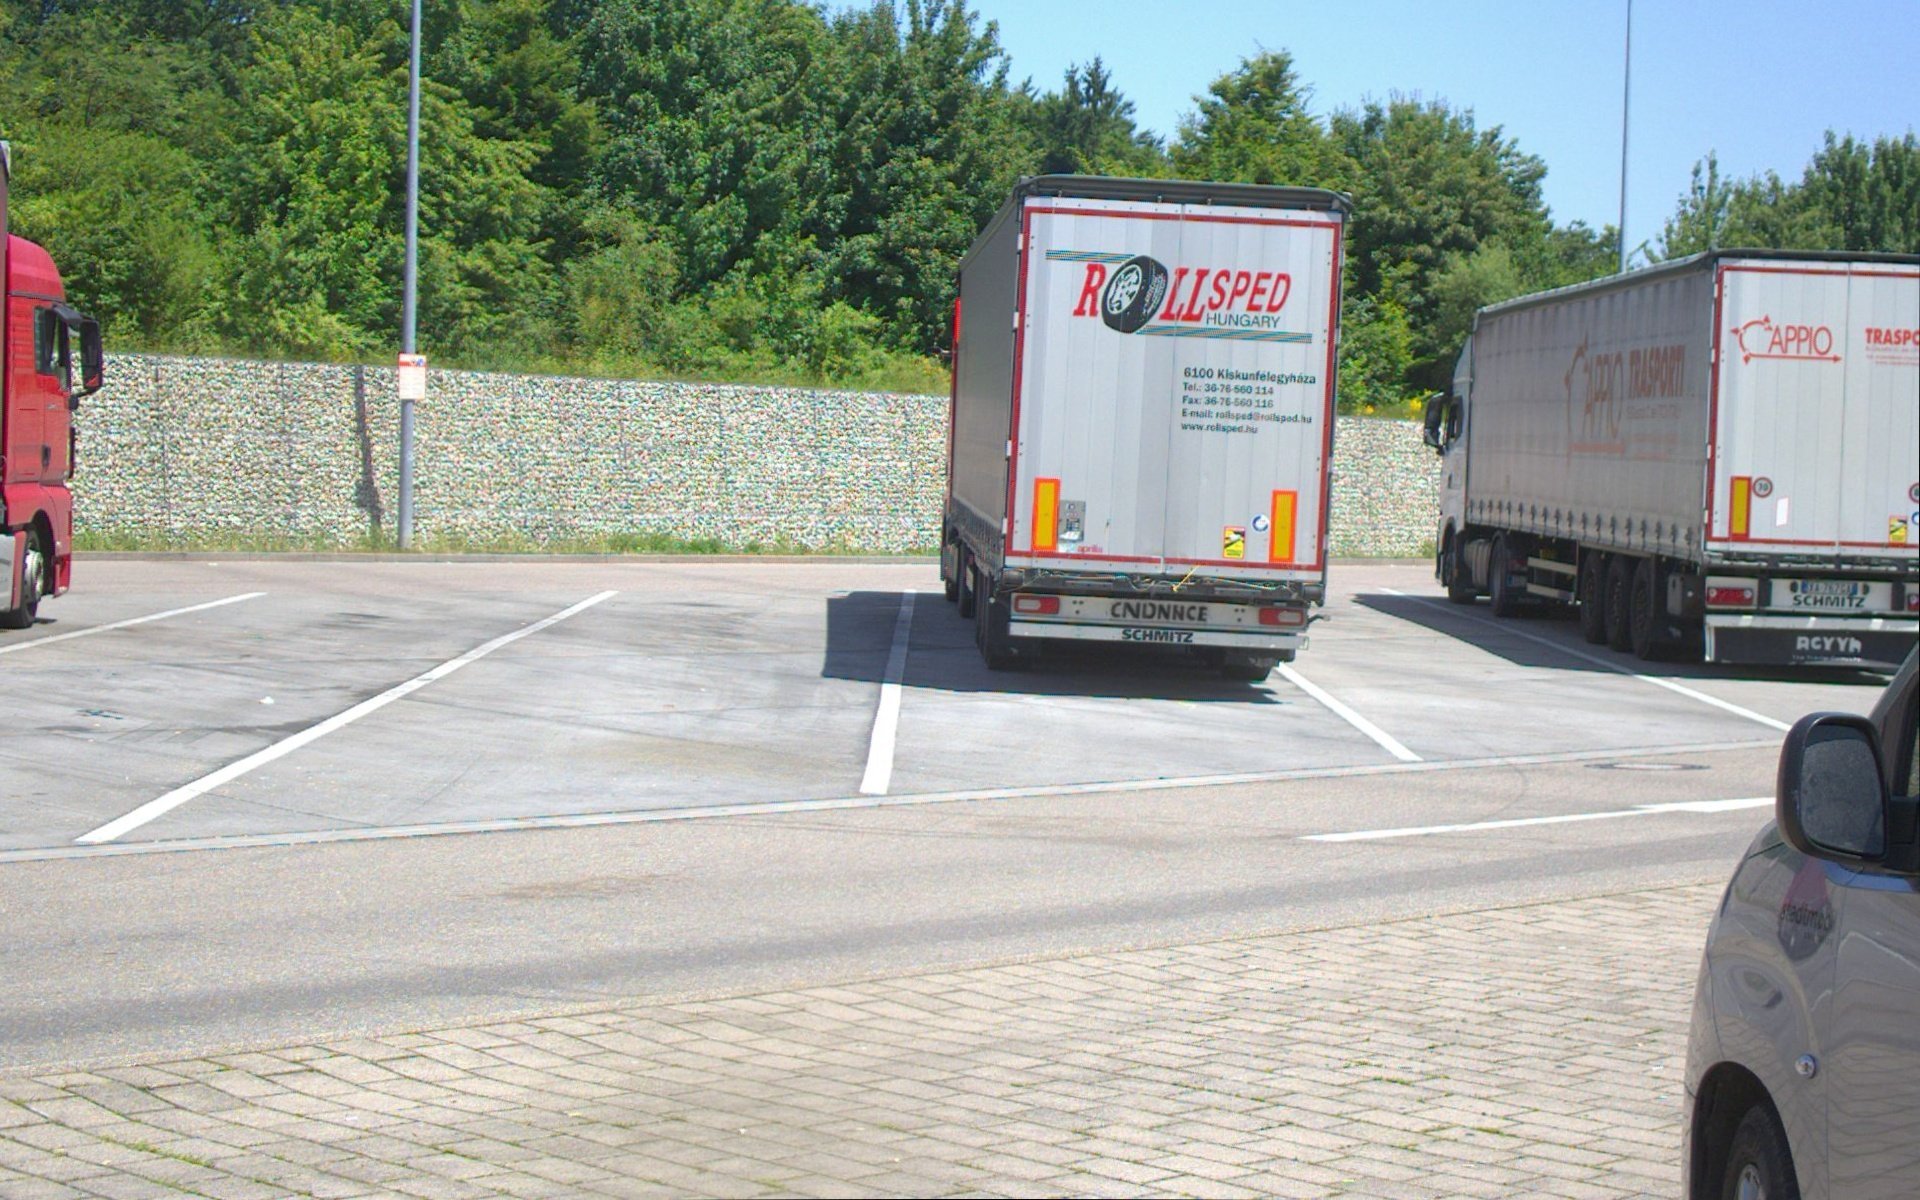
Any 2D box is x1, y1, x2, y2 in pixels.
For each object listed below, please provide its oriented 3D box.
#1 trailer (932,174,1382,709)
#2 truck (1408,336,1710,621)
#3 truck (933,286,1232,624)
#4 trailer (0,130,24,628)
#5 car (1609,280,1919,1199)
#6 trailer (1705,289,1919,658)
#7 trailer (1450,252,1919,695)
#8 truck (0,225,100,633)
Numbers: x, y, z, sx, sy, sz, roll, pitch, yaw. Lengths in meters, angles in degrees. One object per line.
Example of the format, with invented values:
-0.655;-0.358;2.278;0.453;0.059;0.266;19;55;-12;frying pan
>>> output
1.452;-1.598;33.634;3.133;3.976;14.397;2;3;-1;trailer
8.024;-1.703;46.848;2.862;3.509;5.900;2;3;-1;truck
1.314;-1.740;40.527;3.103;3.554;5.900;2;3;-1;truck
-9.189;-1.495;21.583;2.791;4.071;14.133;2;3;-1;trailer
2.157;0.579;3.866;1.869;1.857;4.177;2;2;-2;car
11.758;-1.460;39.800;2.811;3.976;14.396;2;3;-1;trailer
8.117;-1.528;38.748;2.811;3.976;14.396;2;3;-1;trailer
-9.233;-1.450;28.157;2.851;3.316;5.900;2;3;-1;truck
